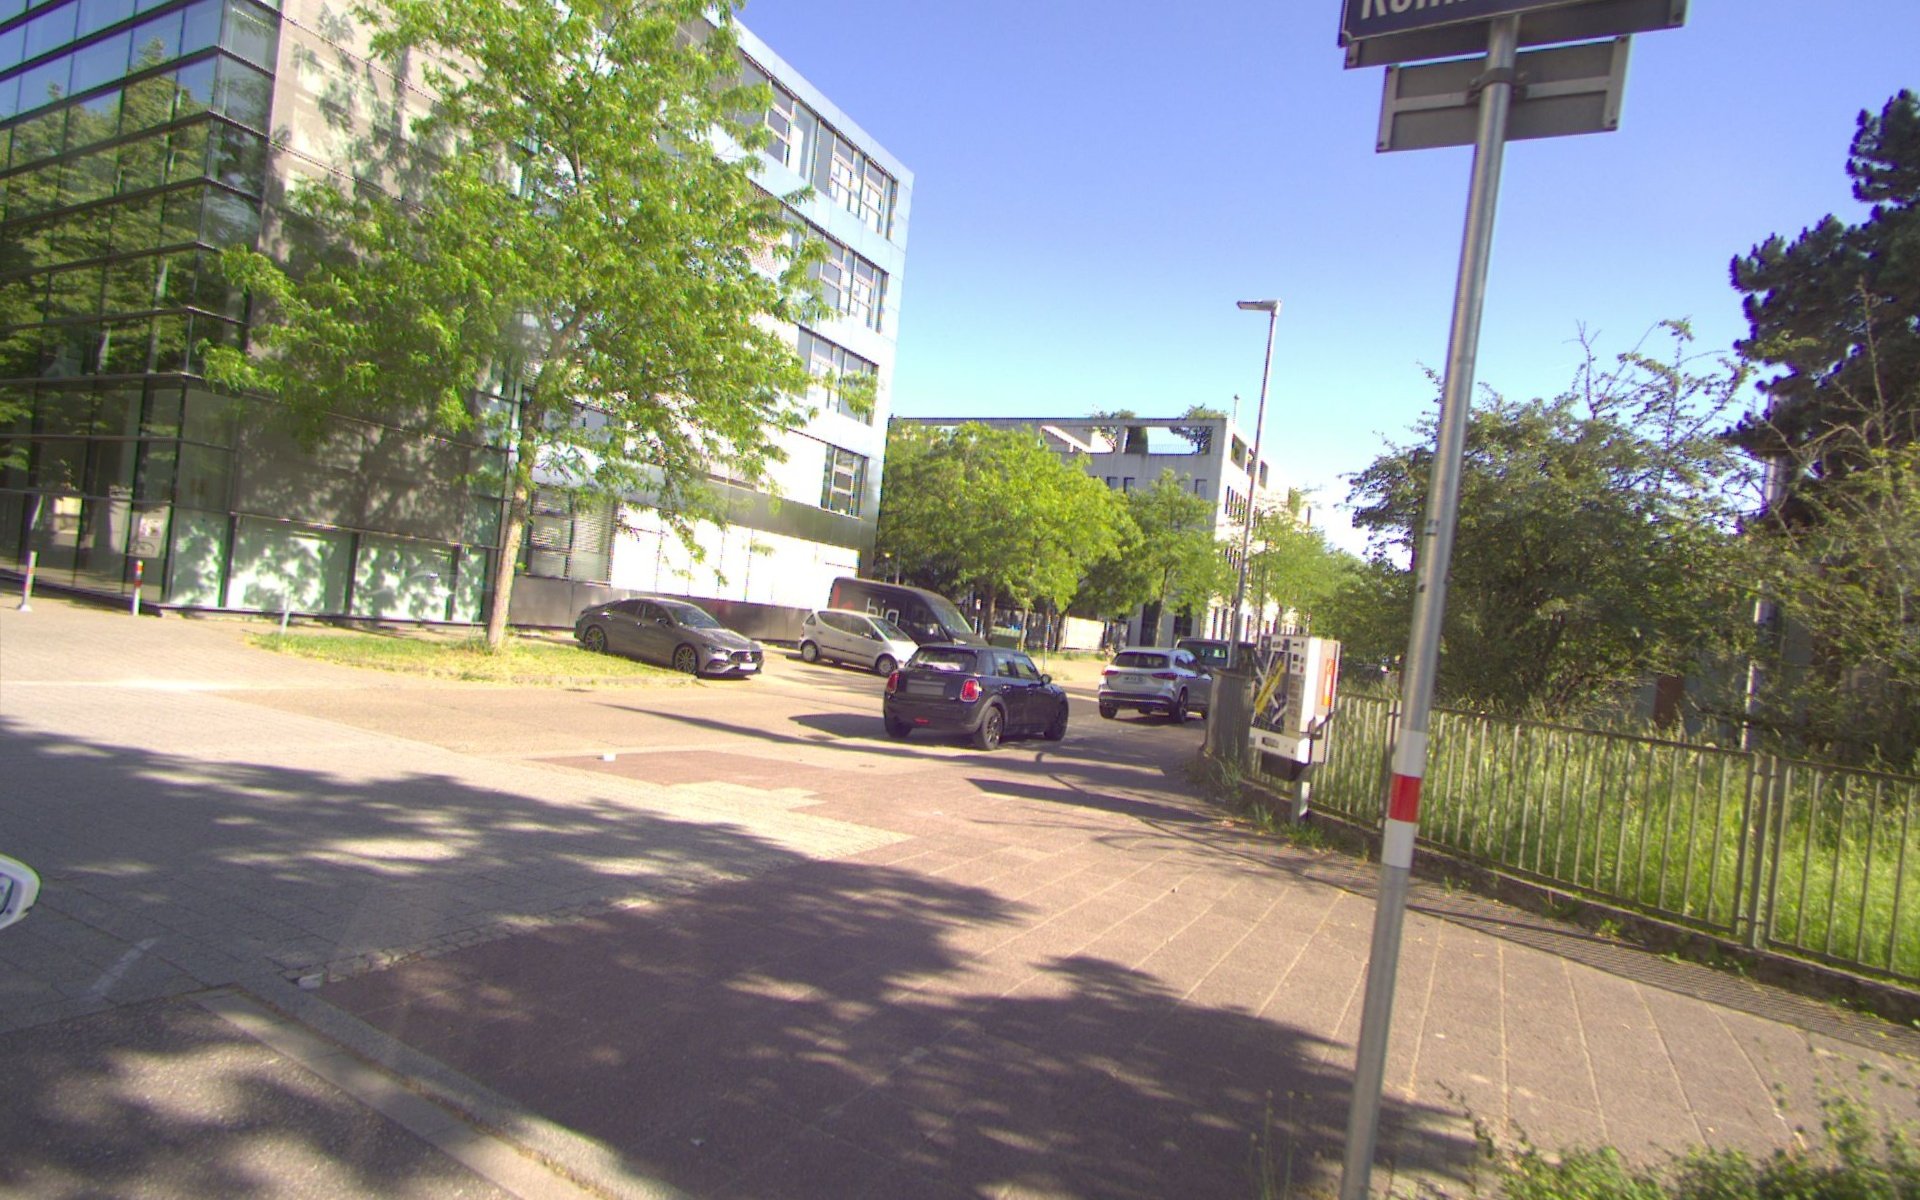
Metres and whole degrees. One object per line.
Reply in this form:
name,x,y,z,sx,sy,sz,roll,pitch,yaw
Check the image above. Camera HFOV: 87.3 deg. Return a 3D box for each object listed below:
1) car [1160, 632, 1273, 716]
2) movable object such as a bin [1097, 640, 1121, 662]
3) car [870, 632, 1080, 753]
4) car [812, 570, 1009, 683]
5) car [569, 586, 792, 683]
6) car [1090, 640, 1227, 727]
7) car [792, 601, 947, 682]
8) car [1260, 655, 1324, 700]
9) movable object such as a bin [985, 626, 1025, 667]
car,7.465,2.122,28.859,1.916,2.046,4.820,5,-2,28
movable object such as a bin,8.576,2.953,57.904,0.653,1.196,1.932,6,0,29
car,0.364,1.392,15.465,1.629,1.489,3.761,4,-2,28
car,-1.550,0.797,30.683,5.378,2.655,2.228,8,1,29
car,-6.076,0.741,21.762,4.471,1.367,1.890,9,0,29
car,4.628,1.900,22.955,1.800,1.648,4.289,4,-2,28
car,-2.554,1.165,28.289,3.777,1.665,1.890,8,0,28
car,13.692,3.169,41.379,1.637,1.580,3.928,6,-1,29
movable object such as a bin,1.771,1.799,39.399,1.273,1.431,1.228,6,0,11
